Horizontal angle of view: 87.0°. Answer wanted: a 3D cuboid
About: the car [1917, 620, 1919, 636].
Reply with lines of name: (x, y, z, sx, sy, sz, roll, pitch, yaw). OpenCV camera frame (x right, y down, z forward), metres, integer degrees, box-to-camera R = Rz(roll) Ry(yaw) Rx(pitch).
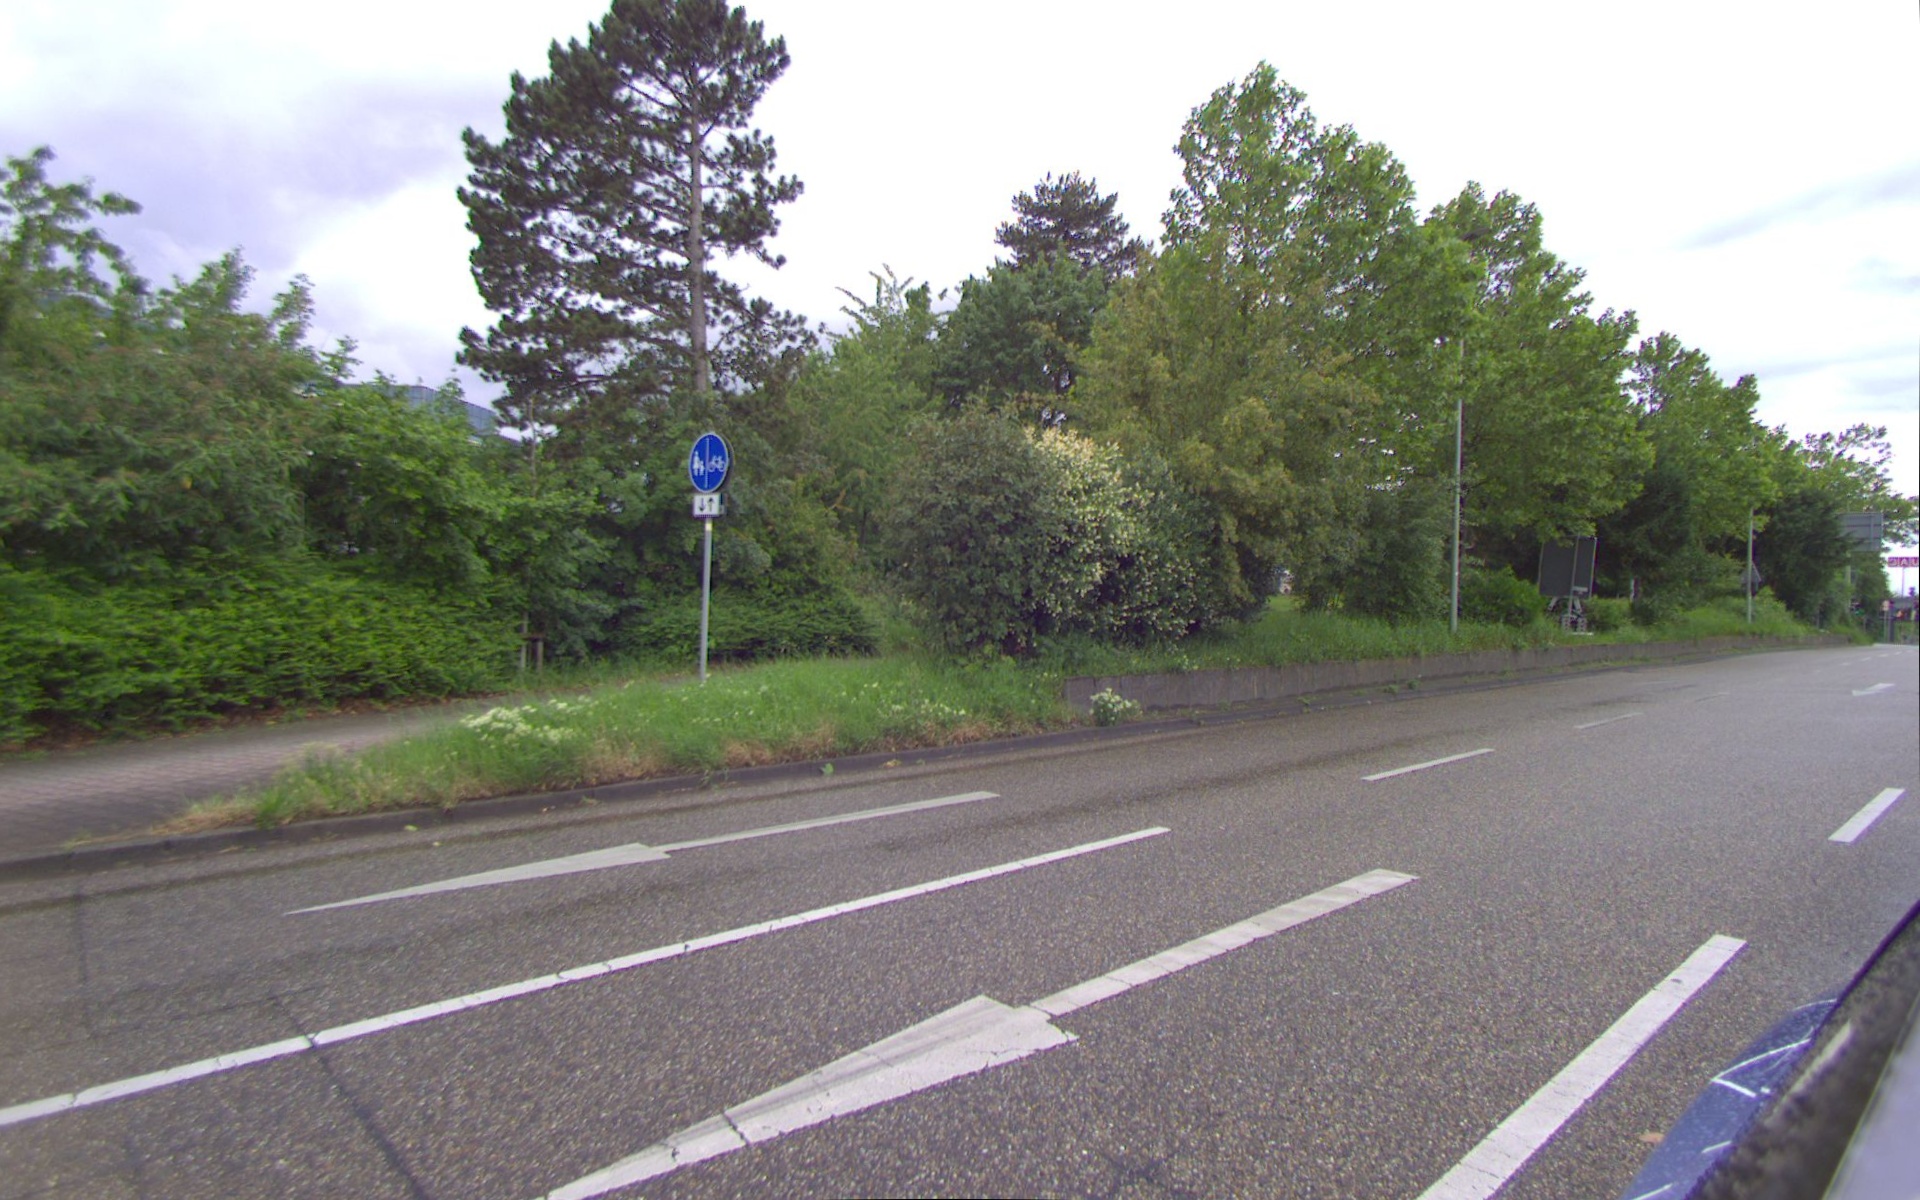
car: (112.871, 3.301, 117.924, 3.935, 1.750, 1.808, -1, 0, -45)
